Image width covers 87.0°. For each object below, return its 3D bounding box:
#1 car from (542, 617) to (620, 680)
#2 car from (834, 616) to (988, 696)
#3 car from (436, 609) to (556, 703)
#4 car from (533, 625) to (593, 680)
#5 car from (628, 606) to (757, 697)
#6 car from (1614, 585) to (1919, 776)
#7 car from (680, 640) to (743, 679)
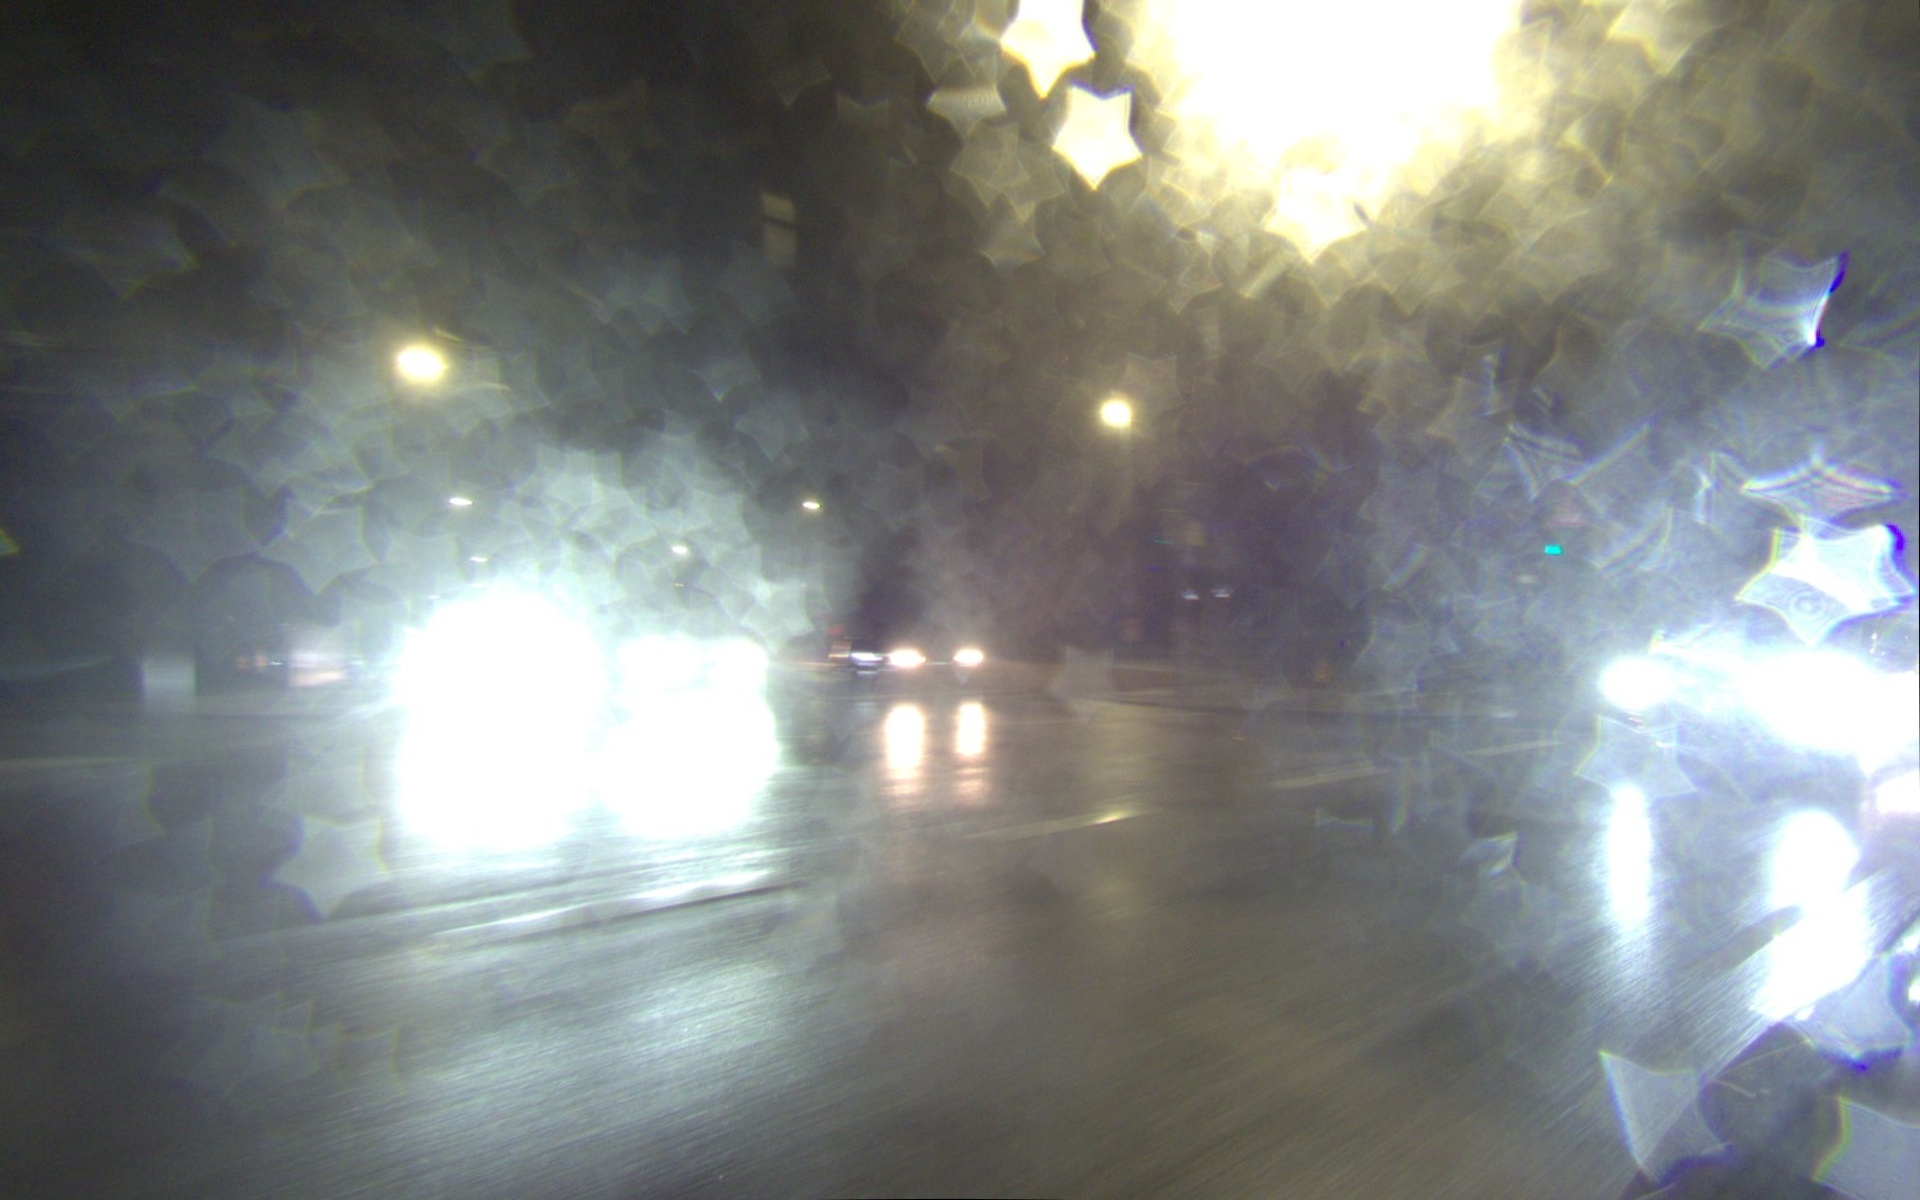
[{"bbox_3d":[-10.301,1.251,27.371,1.818,1.538,4.184,0,-1,-23],"label":"car"},{"bbox_3d":[-1.071,0.997,19.620,1.710,1.363,4.062,0,-1,-23],"label":"car"},{"bbox_3d":[-8.569,0.952,18.908,1.818,1.538,4.184,0,-1,-23],"label":"car"},{"bbox_3d":[-13.384,1.710,34.132,1.788,1.661,4.007,0,0,-22],"label":"car"},{"bbox_3d":[-5.297,0.920,19.632,1.818,1.538,4.505,0,-1,-23],"label":"car"},{"bbox_3d":[8.501,0.640,10.026,4.470,1.526,1.679,0,-1,-33],"label":"car"},{"bbox_3d":[-9.892,2.326,40.073,1.711,1.363,3.916,0,-1,-25],"label":"car"}]
